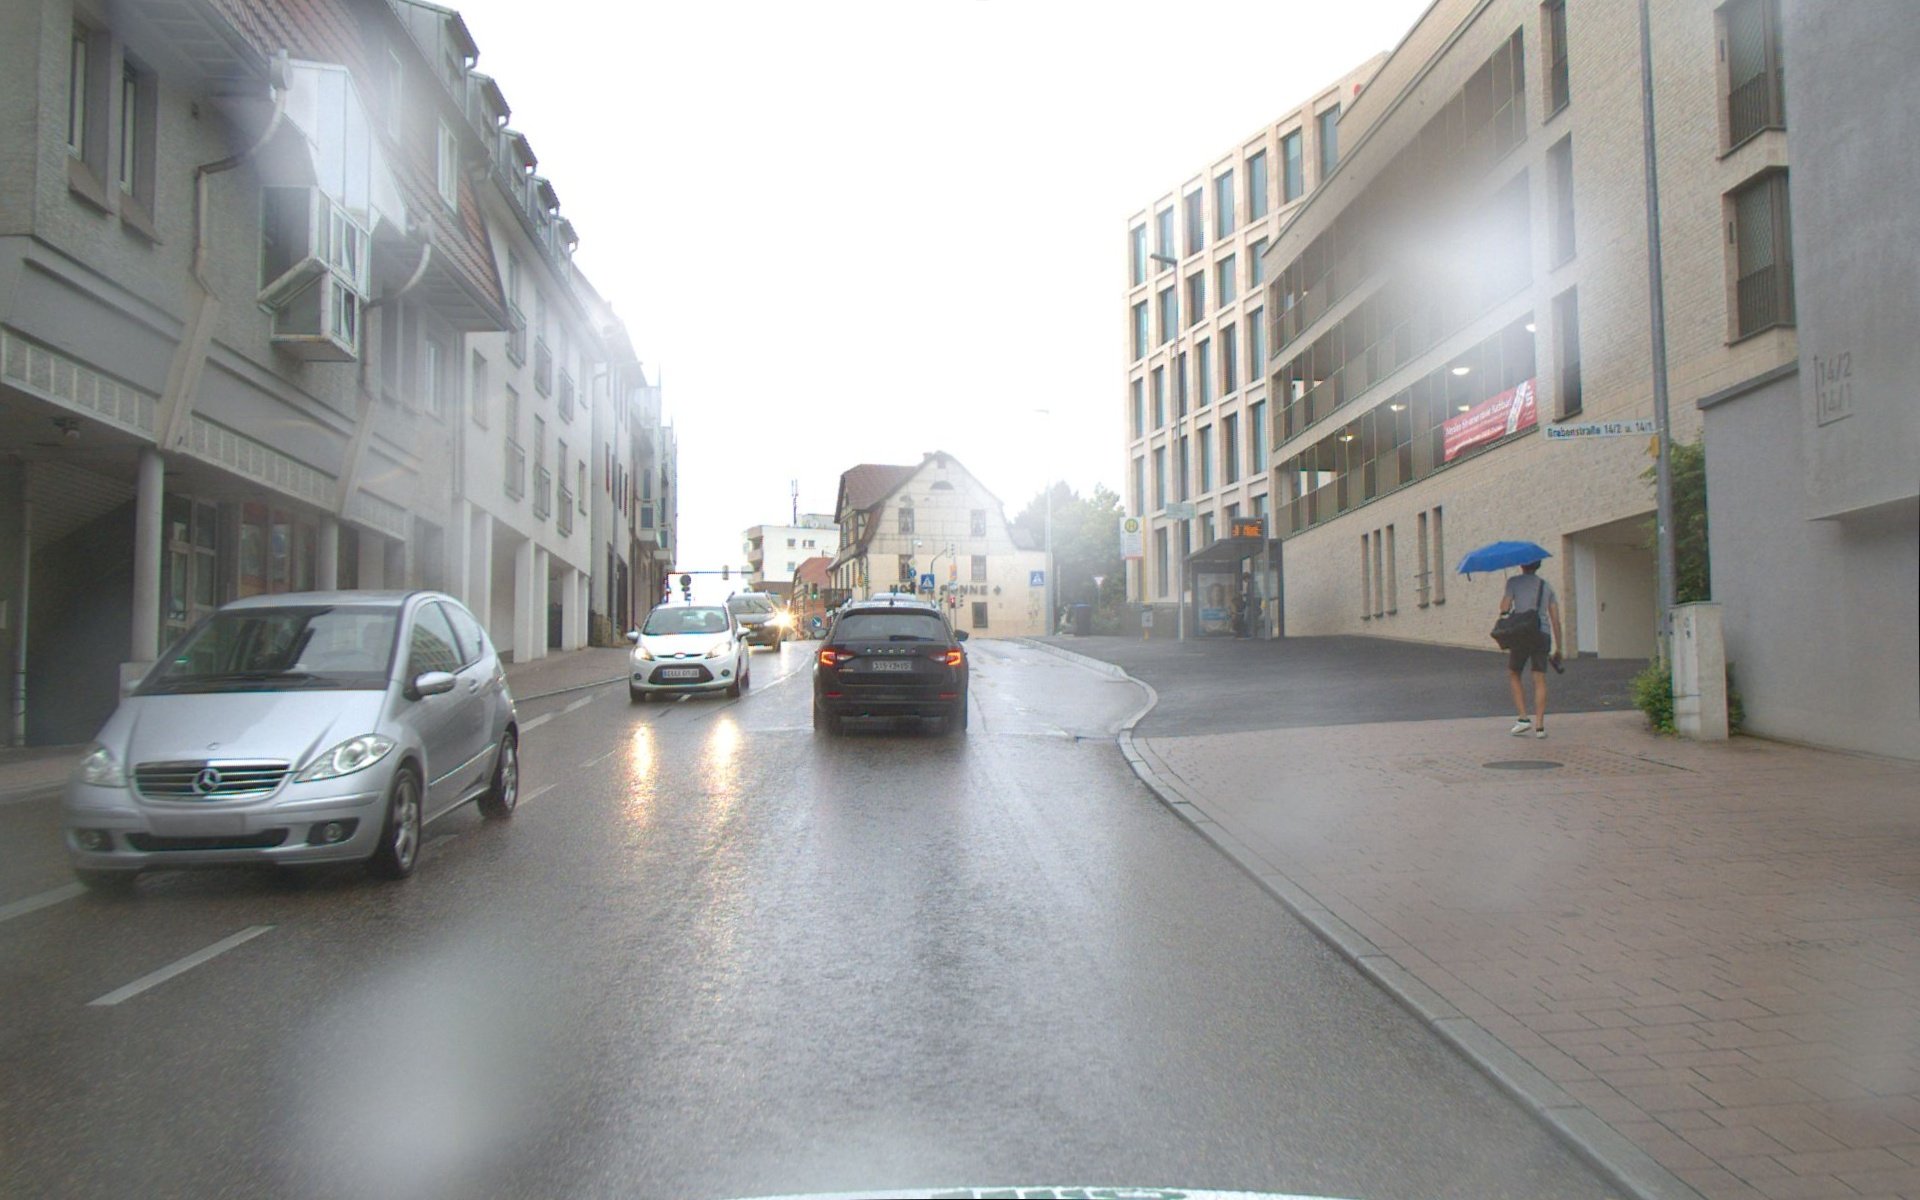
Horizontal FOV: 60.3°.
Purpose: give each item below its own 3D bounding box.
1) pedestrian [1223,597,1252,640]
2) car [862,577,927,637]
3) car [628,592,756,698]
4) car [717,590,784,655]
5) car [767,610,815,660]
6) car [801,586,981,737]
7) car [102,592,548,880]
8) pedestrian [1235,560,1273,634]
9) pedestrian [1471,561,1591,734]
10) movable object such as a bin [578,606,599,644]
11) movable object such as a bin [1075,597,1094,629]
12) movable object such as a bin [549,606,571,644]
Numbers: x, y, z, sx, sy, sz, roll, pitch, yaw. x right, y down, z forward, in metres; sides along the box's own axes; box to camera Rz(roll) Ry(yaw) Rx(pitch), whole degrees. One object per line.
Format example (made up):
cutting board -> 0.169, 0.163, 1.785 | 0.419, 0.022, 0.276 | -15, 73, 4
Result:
pedestrian -> 7.776, 0.511, 46.367 | 0.658, 1.182, 0.635 | -2, 0, -2
car -> -1.797, 0.183, 44.488 | 1.644, 1.536, 3.586 | -1, 0, -4
car -> -4.145, 0.659, 26.009 | 1.644, 1.536, 3.586 | -1, 0, -4
car -> -5.900, 0.616, 46.874 | 1.747, 1.723, 4.454 | -1, 0, -6
car -> -7.062, 1.436, 69.429 | 1.894, 1.941, 5.037 | -2, 0, -5
car -> -0.894, 0.652, 19.835 | 1.906, 1.594, 4.413 | 0, 0, -4
car -> -3.885, 0.733, 10.764 | 1.643, 1.536, 3.587 | -1, 0, -3
pedestrian -> 7.988, -0.079, 44.948 | 0.766, 1.974, 1.021 | -2, 0, -1
pedestrian -> 5.486, 0.442, 15.945 | 0.720, 1.569, 1.038 | -4, 0, 1
movable object such as a bin -> -10.273, 0.687, 45.744 | 0.498, 1.024, 0.584 | 0, 0, -6
movable object such as a bin -> 4.330, 0.450, 57.389 | 0.583, 1.081, 0.578 | -1, 0, -2
movable object such as a bin -> -11.004, 0.679, 45.532 | 0.498, 1.024, 0.584 | 0, 0, -6
